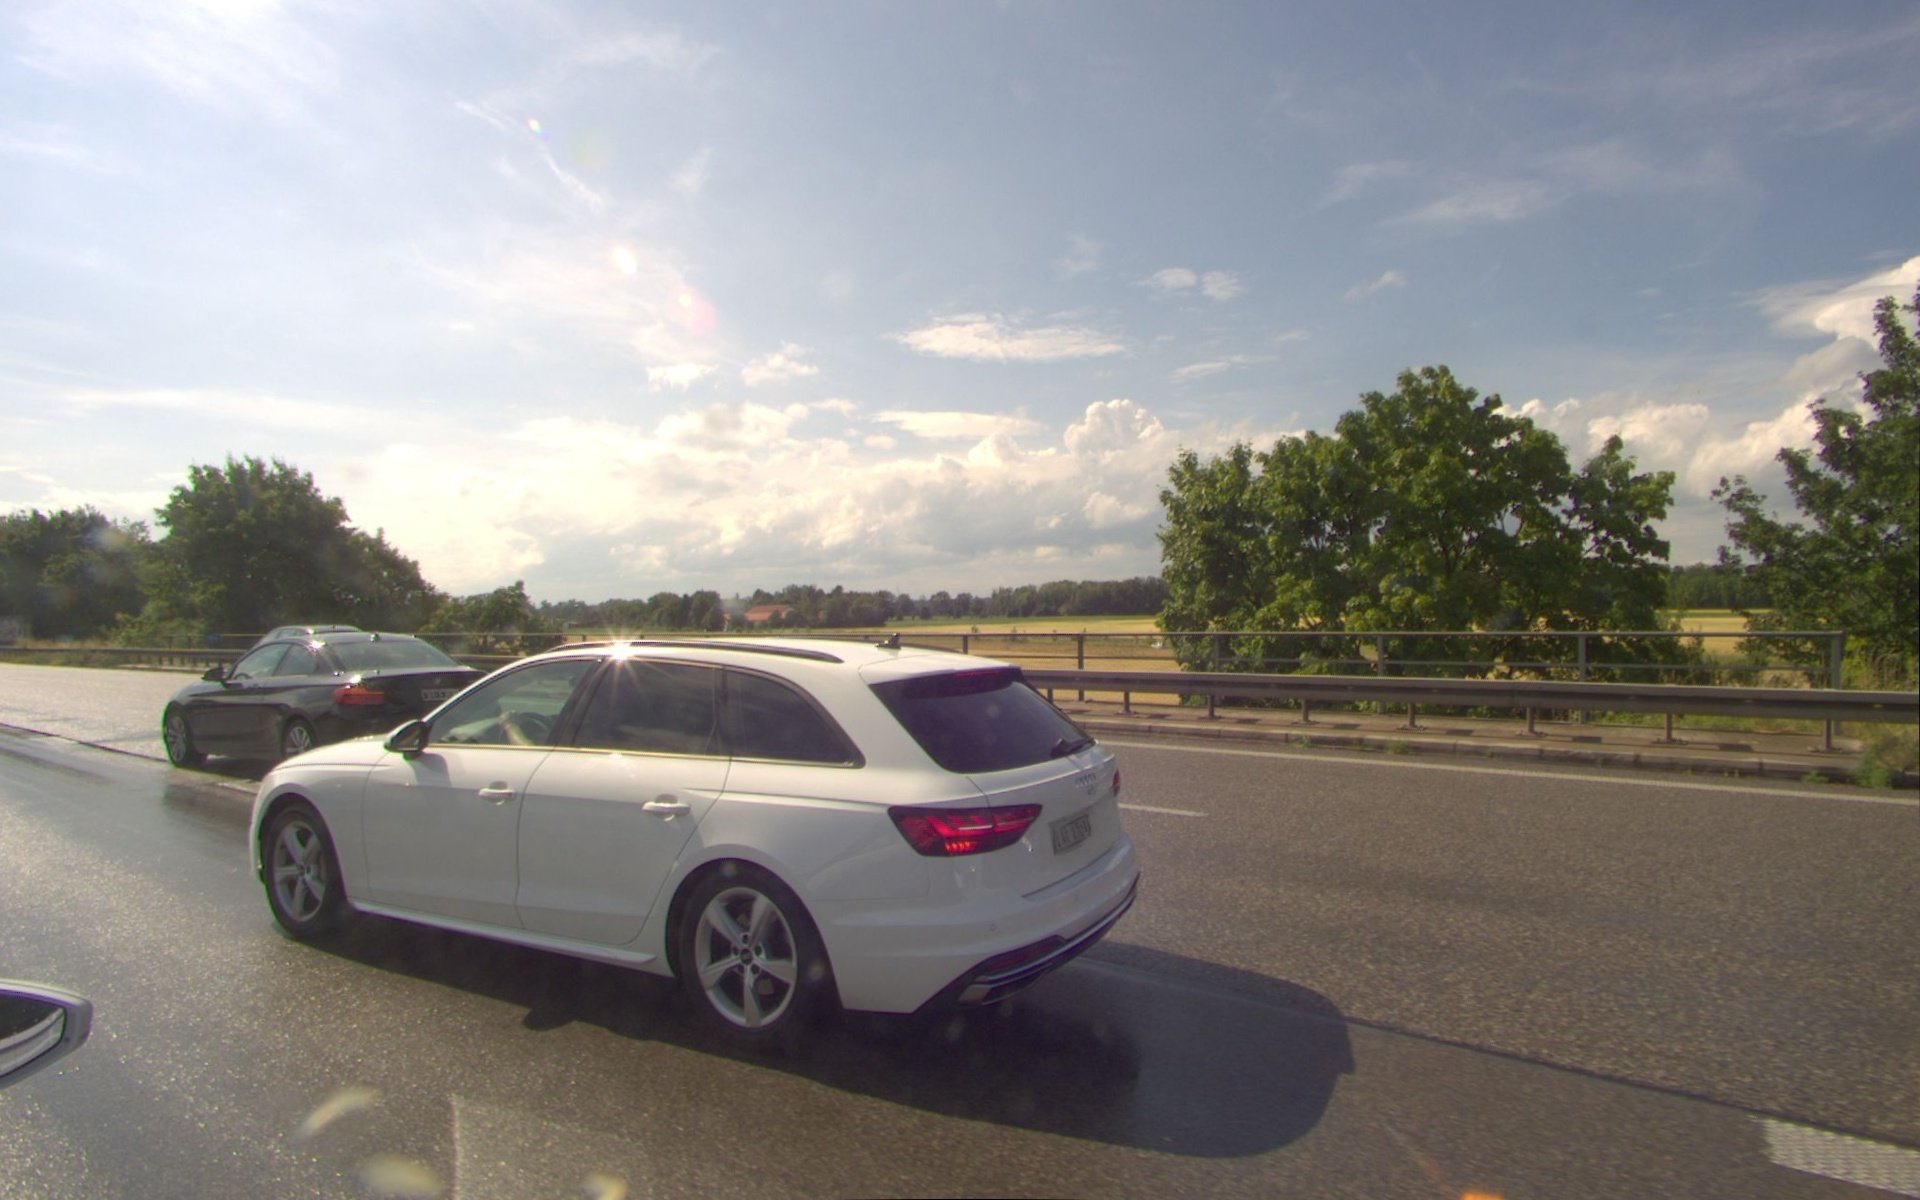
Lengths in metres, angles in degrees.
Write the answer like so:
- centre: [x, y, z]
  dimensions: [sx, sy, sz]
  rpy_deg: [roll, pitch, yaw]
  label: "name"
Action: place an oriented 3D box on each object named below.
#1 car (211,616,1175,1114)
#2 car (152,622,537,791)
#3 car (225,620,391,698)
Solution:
- centre: [-1.411, 0.844, 4.799]
  dimensions: [4.443, 1.444, 1.825]
  rpy_deg: [-2, -1, 29]
  label: "car"
- centre: [-6.721, 1.013, 10.843]
  dimensions: [4.194, 1.483, 1.845]
  rpy_deg: [-1, -1, 31]
  label: "car"
- centre: [-14.617, 1.267, 22.401]
  dimensions: [3.948, 1.589, 1.843]
  rpy_deg: [-1, -2, 36]
  label: "car"
